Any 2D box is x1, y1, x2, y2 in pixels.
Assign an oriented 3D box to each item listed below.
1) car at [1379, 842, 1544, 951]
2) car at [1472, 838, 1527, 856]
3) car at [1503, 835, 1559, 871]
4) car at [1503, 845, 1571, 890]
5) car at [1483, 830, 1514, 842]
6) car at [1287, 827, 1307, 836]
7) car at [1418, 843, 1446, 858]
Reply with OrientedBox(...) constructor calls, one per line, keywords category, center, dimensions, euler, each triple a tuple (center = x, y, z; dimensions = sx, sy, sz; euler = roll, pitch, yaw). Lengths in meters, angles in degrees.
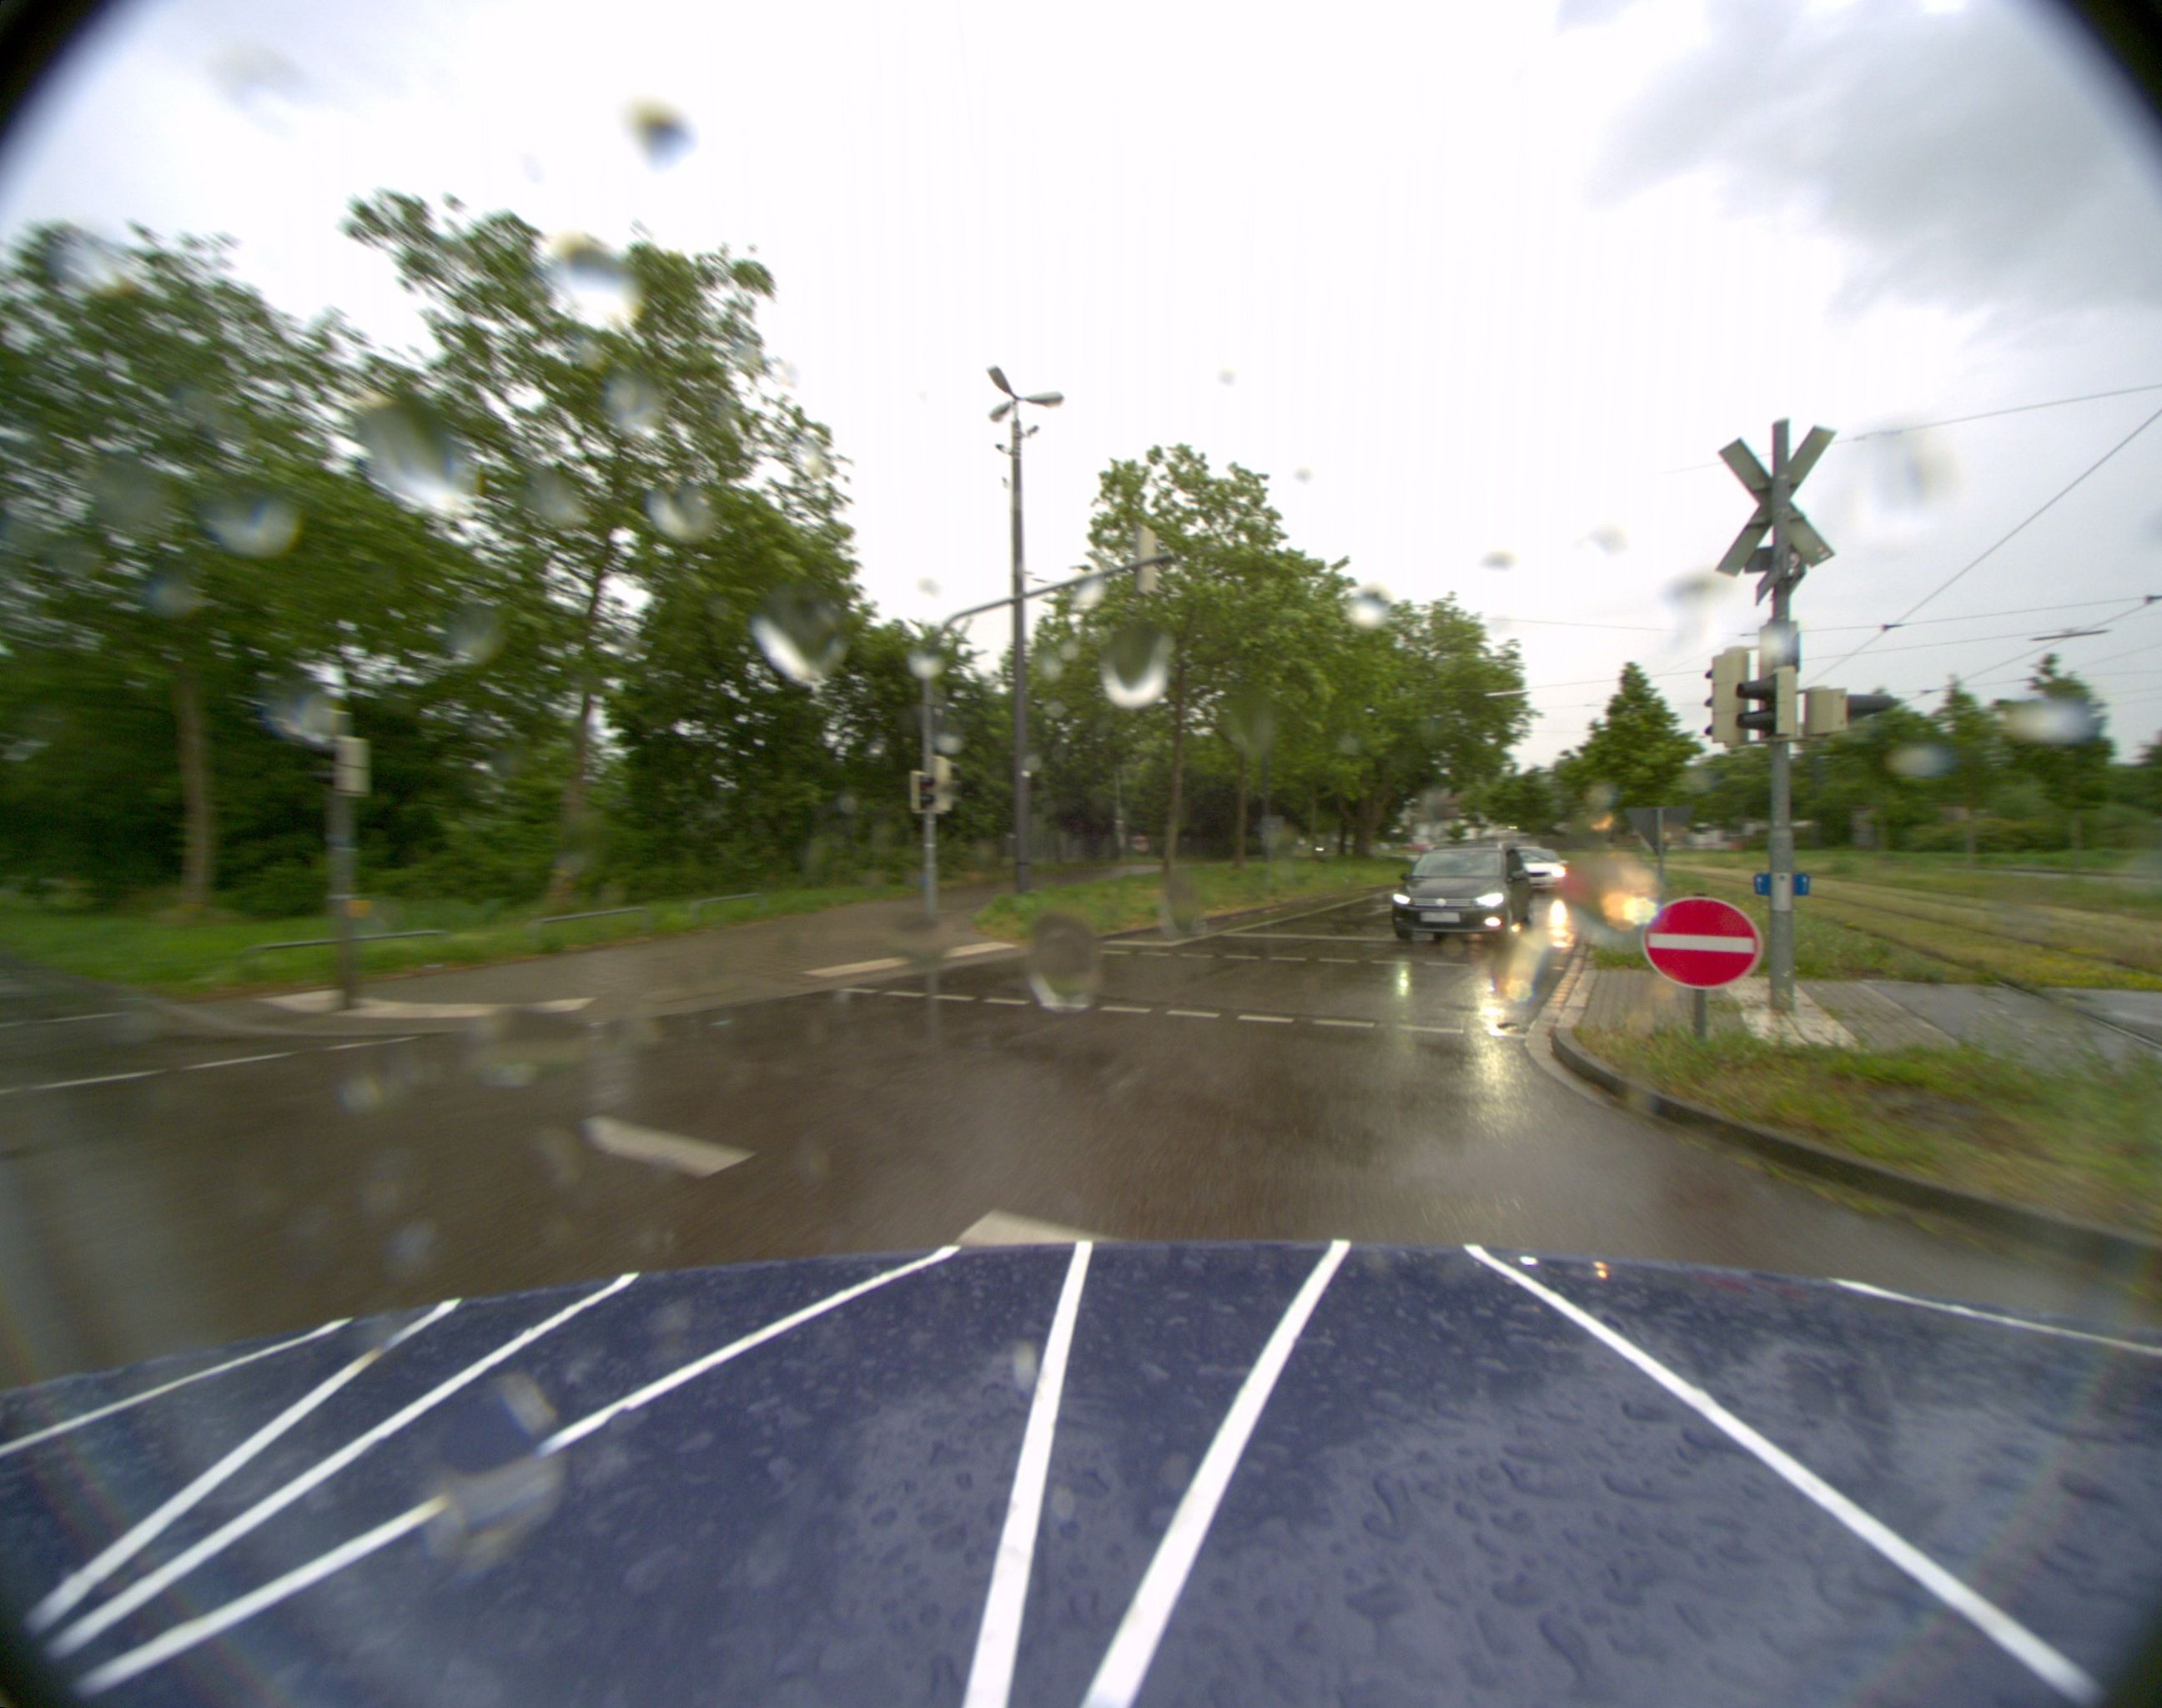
OrientedBox(category="car", center=(7.074, 0.633, 13.859), dimensions=(1.862, 1.592, 4.534), euler=(-2, 1, 37))
OrientedBox(category="car", center=(36.521, -0.571, 66.340), dimensions=(4.036, 1.412, 1.678), euler=(-2, 1, 23))
OrientedBox(category="car", center=(19.232, -0.071, 32.593), dimensions=(1.785, 1.396, 3.800), euler=(-2, 0, 27))
OrientedBox(category="car", center=(15.736, 0.429, 26.121), dimensions=(1.784, 1.355, 4.005), euler=(-2, 1, 34))
OrientedBox(category="car", center=(69.134, -3.041, 125.808), dimensions=(3.997, 1.791, 1.893), euler=(-2, 0, -1))
OrientedBox(category="car", center=(47.409, -4.900, 166.976), dimensions=(3.994, 1.816, 2.001), euler=(-2, 1, 9))
OrientedBox(category="car", center=(34.128, -0.355, 73.906), dimensions=(1.786, 1.372, 3.868), euler=(-2, 0, 14))
